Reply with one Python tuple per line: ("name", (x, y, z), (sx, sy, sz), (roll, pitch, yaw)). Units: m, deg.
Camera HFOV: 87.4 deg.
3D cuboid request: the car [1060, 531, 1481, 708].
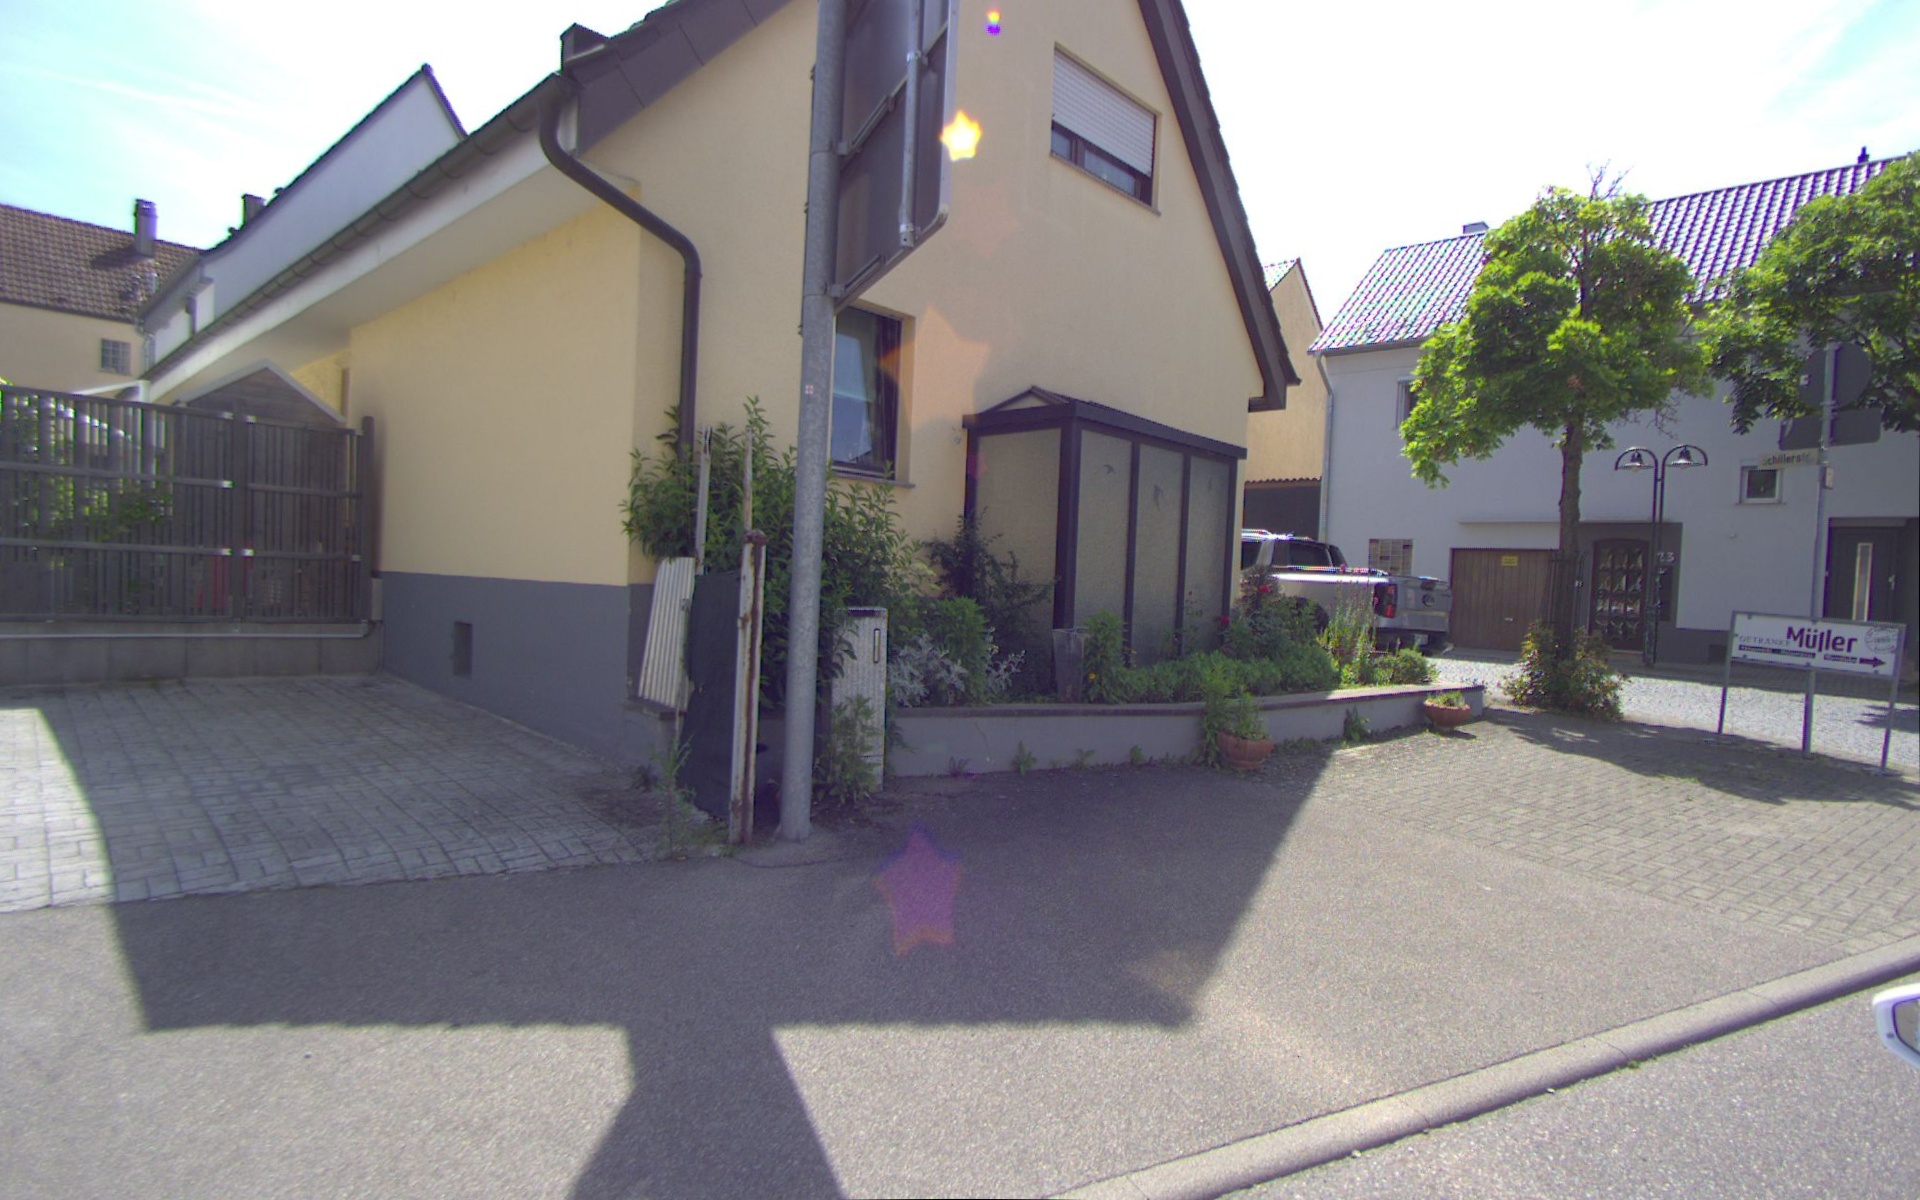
("car", (3.926, 0.114, 13.568), (2.157, 1.922, 5.063), (0, 2, -39))
